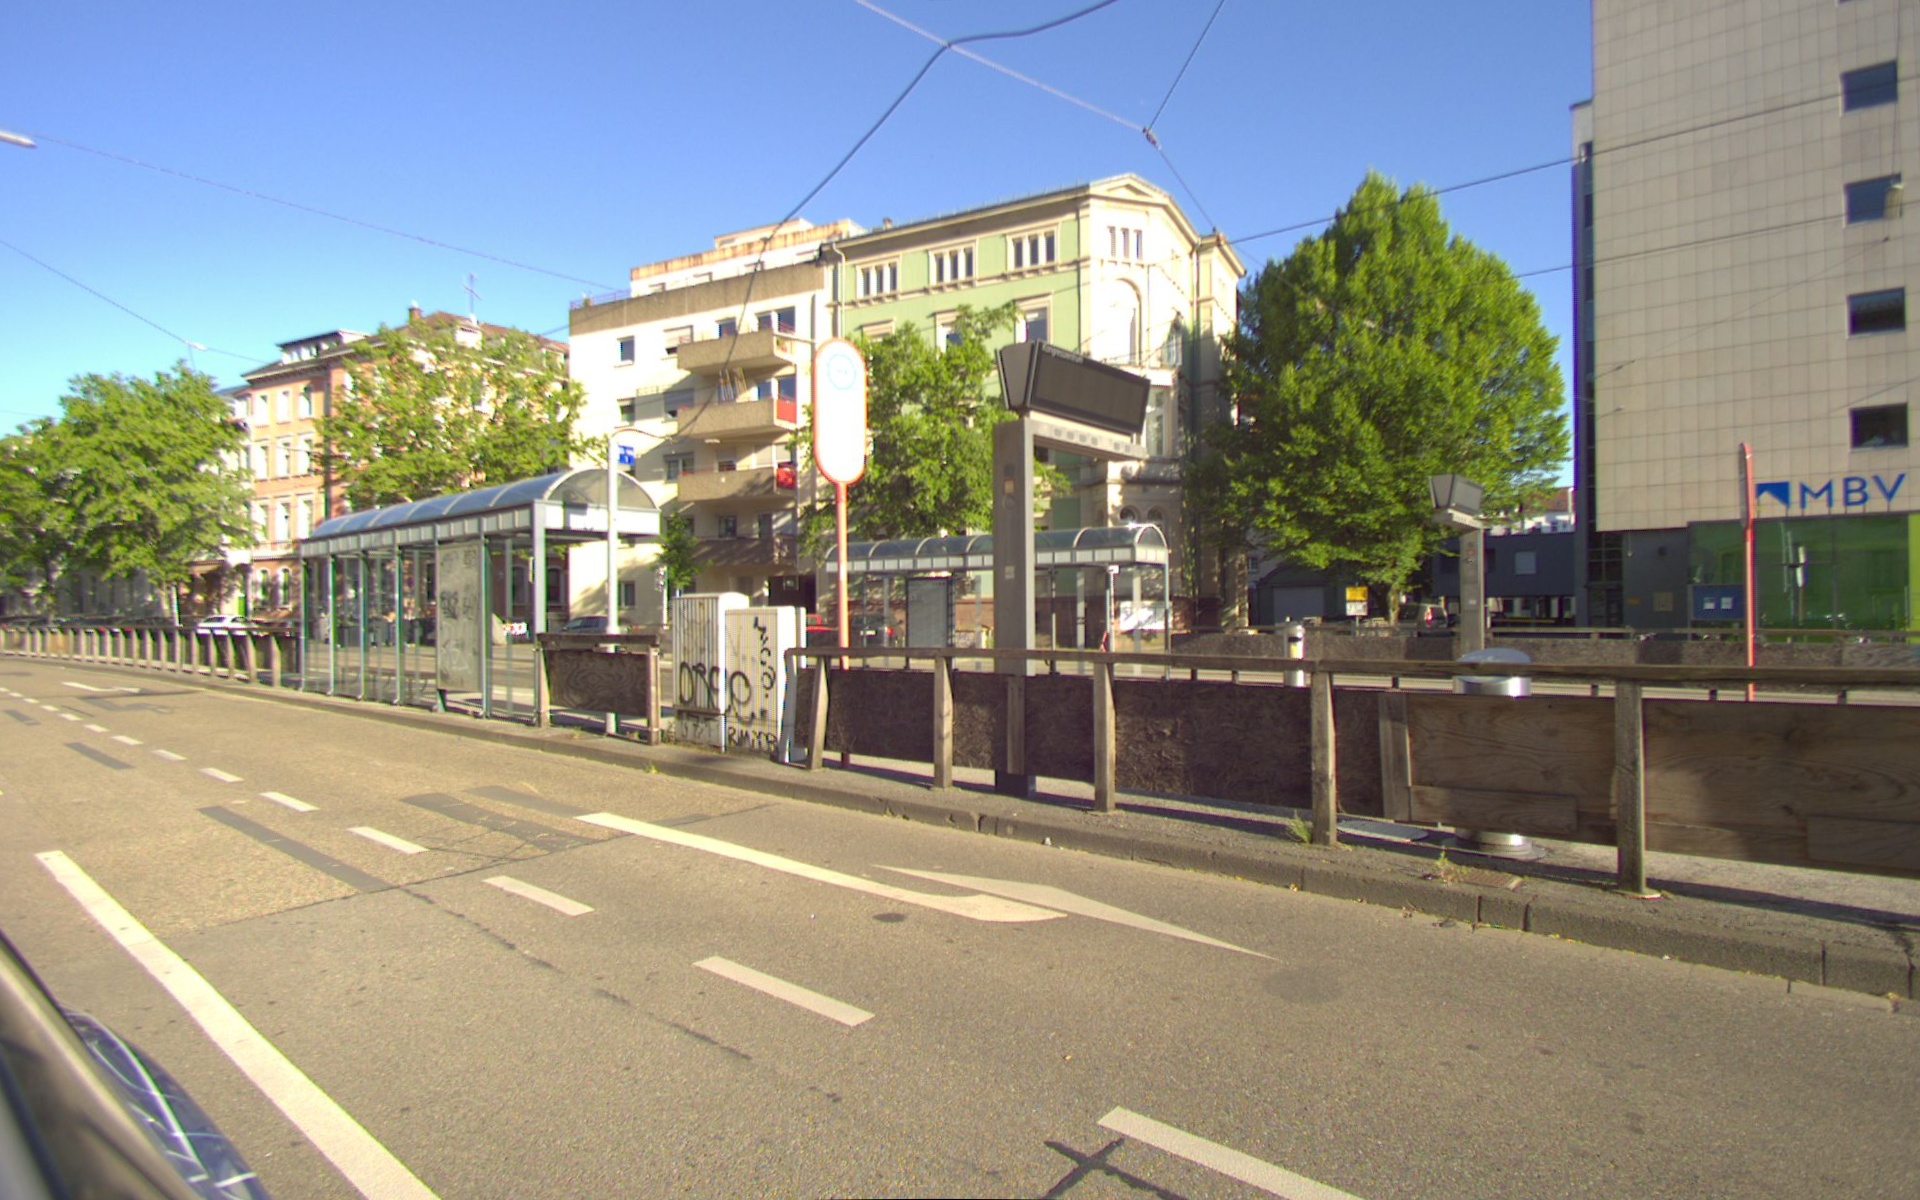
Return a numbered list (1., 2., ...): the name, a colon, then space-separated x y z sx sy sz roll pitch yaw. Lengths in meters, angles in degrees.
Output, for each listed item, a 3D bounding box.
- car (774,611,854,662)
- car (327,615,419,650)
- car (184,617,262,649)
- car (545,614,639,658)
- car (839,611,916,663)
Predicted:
1. car: -4.928 1.212 34.568 1.614 1.579 3.588 -1 0 11
2. car: -28.406 1.556 49.058 1.626 1.579 3.560 -1 0 33
3. car: -39.405 1.736 54.216 1.607 1.579 3.601 -1 0 -2
4. car: -14.040 1.330 38.520 3.592 1.579 1.612 -1 0 35
5. car: -2.656 1.183 33.372 1.614 1.579 3.588 -1 0 11
